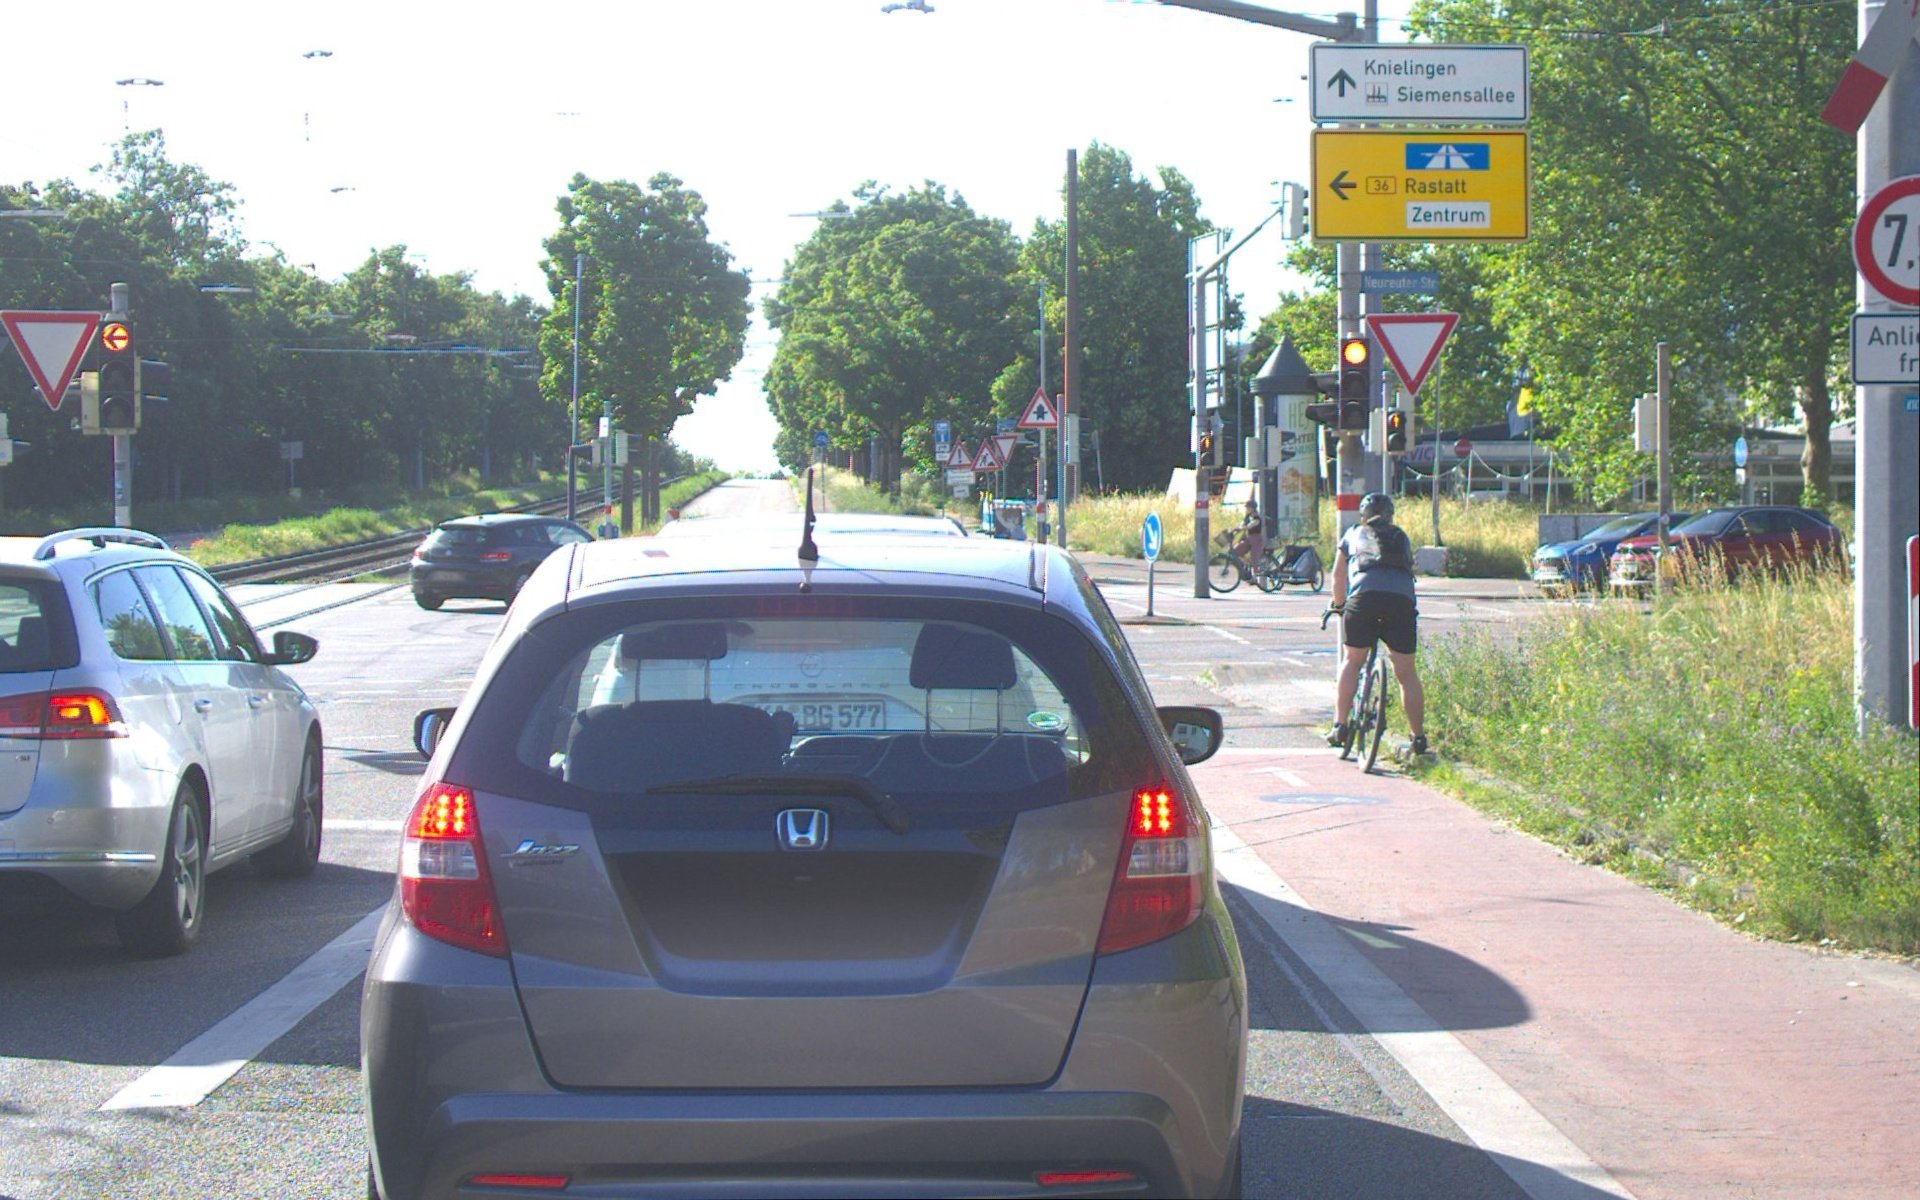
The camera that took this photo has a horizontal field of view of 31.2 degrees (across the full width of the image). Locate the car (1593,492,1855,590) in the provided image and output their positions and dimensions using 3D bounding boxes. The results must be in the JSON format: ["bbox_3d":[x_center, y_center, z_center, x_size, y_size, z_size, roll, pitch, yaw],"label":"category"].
[{"bbox_3d":[12.504,-0.980,56.249,3.986,1.525,1.606,-1,2,-23],"label":"car"}]

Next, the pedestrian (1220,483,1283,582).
[{"bbox_3d":[5.459,-1.261,64.313,0.852,1.830,0.790,-1,2,-39],"label":"pedestrian"}]

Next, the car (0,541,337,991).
[{"bbox_3d":[-3.528,0.503,13.141,1.619,1.452,4.085,1,1,-1],"label":"car"}]

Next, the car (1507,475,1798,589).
[{"bbox_3d":[12.198,-1.182,60.561,4.686,1.873,2.001,1,1,-23],"label":"car"}]

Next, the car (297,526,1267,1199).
[{"bbox_3d":[-0.393,0.564,7.721,1.668,1.457,3.587,0,1,-3],"label":"car"}]

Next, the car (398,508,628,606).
[{"bbox_3d":[-6.527,-0.651,50.523,1.525,1.374,3.671,0,1,27],"label":"car"}]

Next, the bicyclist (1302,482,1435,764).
[{"bbox_3d":[2.547,0.136,21.523,0.666,1.710,0.948,1,1,-1],"label":"bicyclist"}]

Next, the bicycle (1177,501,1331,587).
[{"bbox_3d":[5.523,-1.060,64.345,3.205,1.569,0.821,-1,2,-40],"label":"bicycle"}]

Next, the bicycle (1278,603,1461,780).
[{"bbox_3d":[2.536,0.539,21.609,0.722,0.985,2.876,1,1,-1],"label":"bicycle"}]

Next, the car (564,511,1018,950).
[{"bbox_3d":[-0.644,0.422,14.356,1.611,1.557,4.288,0,1,-1],"label":"car"}]
